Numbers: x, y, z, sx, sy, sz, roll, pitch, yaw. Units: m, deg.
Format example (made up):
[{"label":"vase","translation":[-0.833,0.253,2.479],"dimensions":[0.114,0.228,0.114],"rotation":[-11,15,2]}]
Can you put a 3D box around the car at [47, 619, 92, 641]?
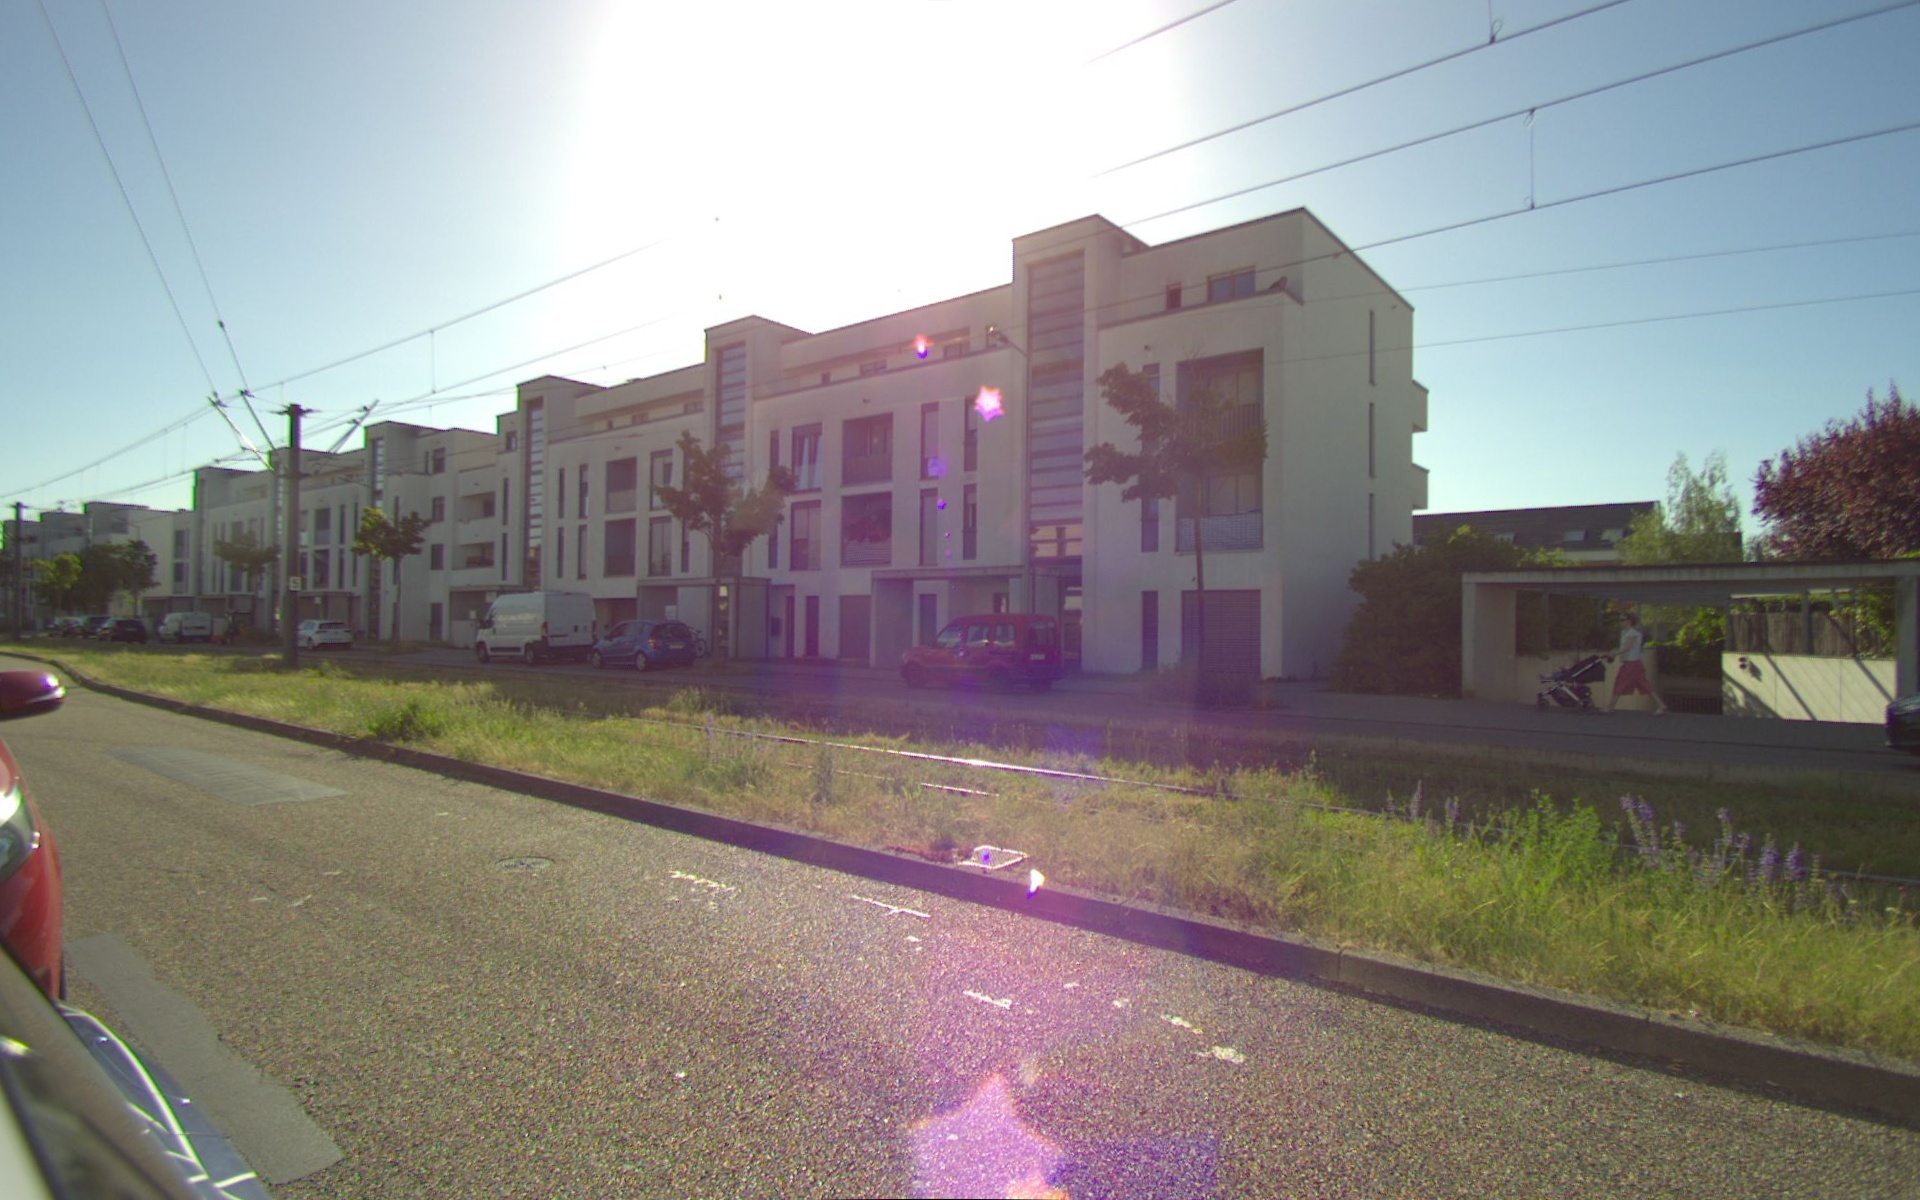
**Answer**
[{"label":"car","translation":[-67.568,2.279,76.767],"dimensions":[4.149,1.611,1.745],"rotation":[-1,-1,37]}]

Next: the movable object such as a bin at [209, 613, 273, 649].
[{"label":"movable object such as a bin","translation":[-40.463,1.721,56.918],"dimensions":[4.149,1.952,1.745],"rotation":[-1,-1,37]}]

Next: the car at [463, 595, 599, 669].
[{"label":"car","translation":[-15.359,1.109,36.079],"dimensions":[5.583,2.463,2.119],"rotation":[-1,-1,39]}]

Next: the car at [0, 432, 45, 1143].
[{"label":"car","translation":[-5.157,0.563,3.843],"dimensions":[5.203,1.948,1.954],"rotation":[-1,0,42]}]

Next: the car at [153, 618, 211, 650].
[{"label":"car","translation":[-47.308,2.040,61.540],"dimensions":[4.149,1.884,1.745],"rotation":[-1,-1,37]}]

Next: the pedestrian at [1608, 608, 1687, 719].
[{"label":"pedestrian","translation":[11.372,1.015,16.744],"dimensions":[0.806,1.761,0.910],"rotation":[0,-1,-45]}]

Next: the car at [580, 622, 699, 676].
[{"label":"car","translation":[-10.052,1.487,31.662],"dimensions":[3.840,1.548,1.805],"rotation":[-1,-1,41]}]

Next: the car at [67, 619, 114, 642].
[{"label":"car","translation":[-63.048,2.189,73.396],"dimensions":[4.149,1.611,1.745],"rotation":[-1,-1,37]}]

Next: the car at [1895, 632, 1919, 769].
[{"label":"car","translation":[12.015,1.069,10.161],"dimensions":[3.737,1.442,1.686],"rotation":[-2,-4,40]}]

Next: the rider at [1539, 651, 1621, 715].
[{"label":"rider","translation":[10.703,1.412,17.478],"dimensions":[0.769,1.010,1.046],"rotation":[0,-1,-44]}]

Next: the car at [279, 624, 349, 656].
[{"label":"car","translation":[-31.225,1.918,48.902],"dimensions":[4.149,1.443,1.503],"rotation":[-1,-1,37]}]

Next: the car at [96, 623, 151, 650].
[{"label":"car","translation":[-47.351,2.044,57.277],"dimensions":[3.999,1.429,1.769],"rotation":[-1,-4,42]}]

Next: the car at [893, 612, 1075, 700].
[{"label":"car","translation":[0.488,1.199,23.009],"dimensions":[3.836,1.809,1.861],"rotation":[-1,-1,42]}]
